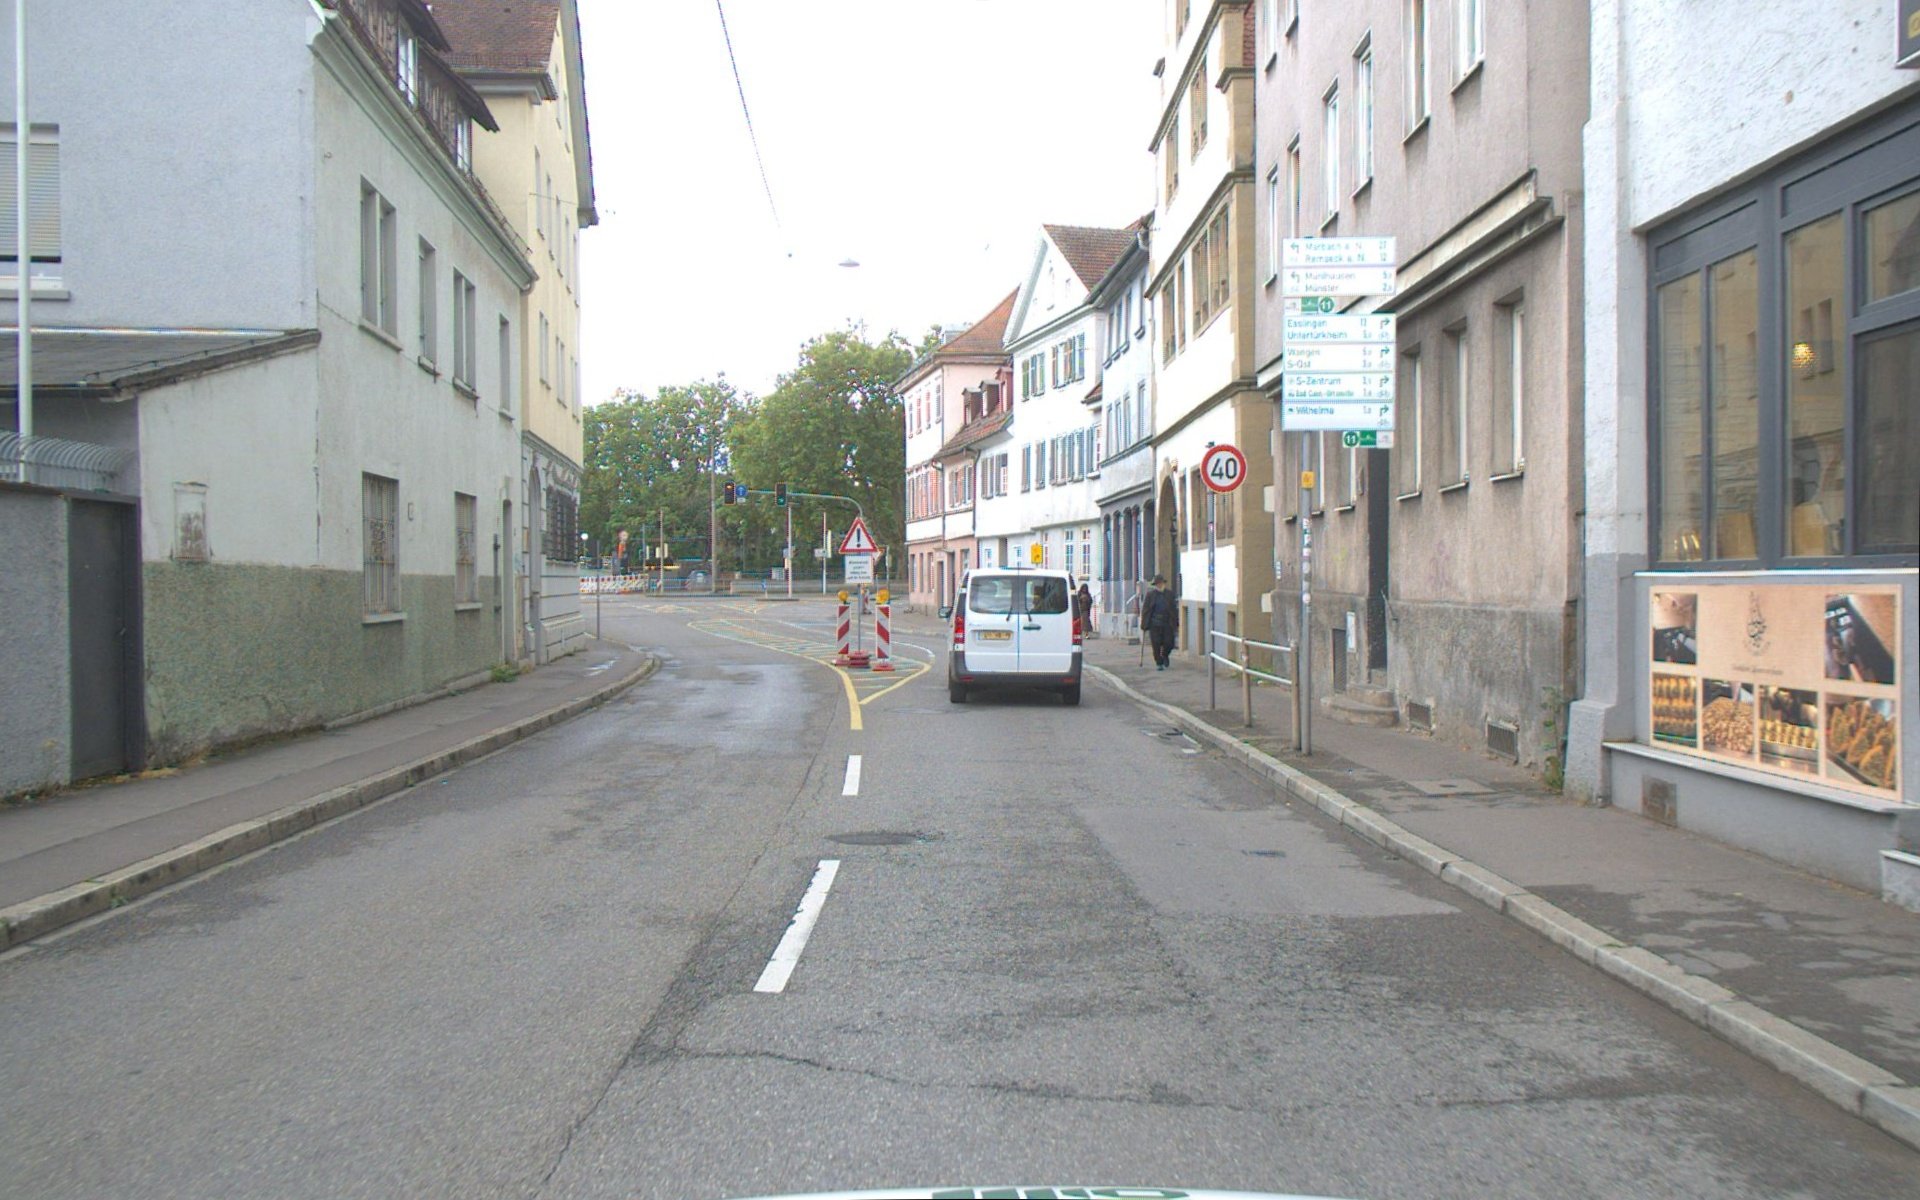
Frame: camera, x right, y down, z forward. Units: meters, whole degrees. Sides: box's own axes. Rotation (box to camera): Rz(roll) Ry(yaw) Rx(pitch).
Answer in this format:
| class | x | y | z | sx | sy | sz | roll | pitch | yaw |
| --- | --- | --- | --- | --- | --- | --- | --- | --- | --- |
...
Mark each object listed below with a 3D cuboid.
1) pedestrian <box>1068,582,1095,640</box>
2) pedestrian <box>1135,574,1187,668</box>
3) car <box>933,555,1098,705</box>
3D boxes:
| class | x | y | z | sx | sy | sz | roll | pitch | yaw |
| --- | --- | --- | --- | --- | --- | --- | --- | --- | --- |
| pedestrian | 3.591 | 0.319 | 48.796 | 0.739 | 1.696 | 0.809 | 0 | 0 | 0 |
| pedestrian | 3.666 | 0.371 | 30.255 | 0.814 | 1.685 | 0.944 | -1 | 0 | 1 |
| car | 0.714 | 0.443 | 24.307 | 1.954 | 1.957 | 4.245 | 1 | -1 | -4 |
